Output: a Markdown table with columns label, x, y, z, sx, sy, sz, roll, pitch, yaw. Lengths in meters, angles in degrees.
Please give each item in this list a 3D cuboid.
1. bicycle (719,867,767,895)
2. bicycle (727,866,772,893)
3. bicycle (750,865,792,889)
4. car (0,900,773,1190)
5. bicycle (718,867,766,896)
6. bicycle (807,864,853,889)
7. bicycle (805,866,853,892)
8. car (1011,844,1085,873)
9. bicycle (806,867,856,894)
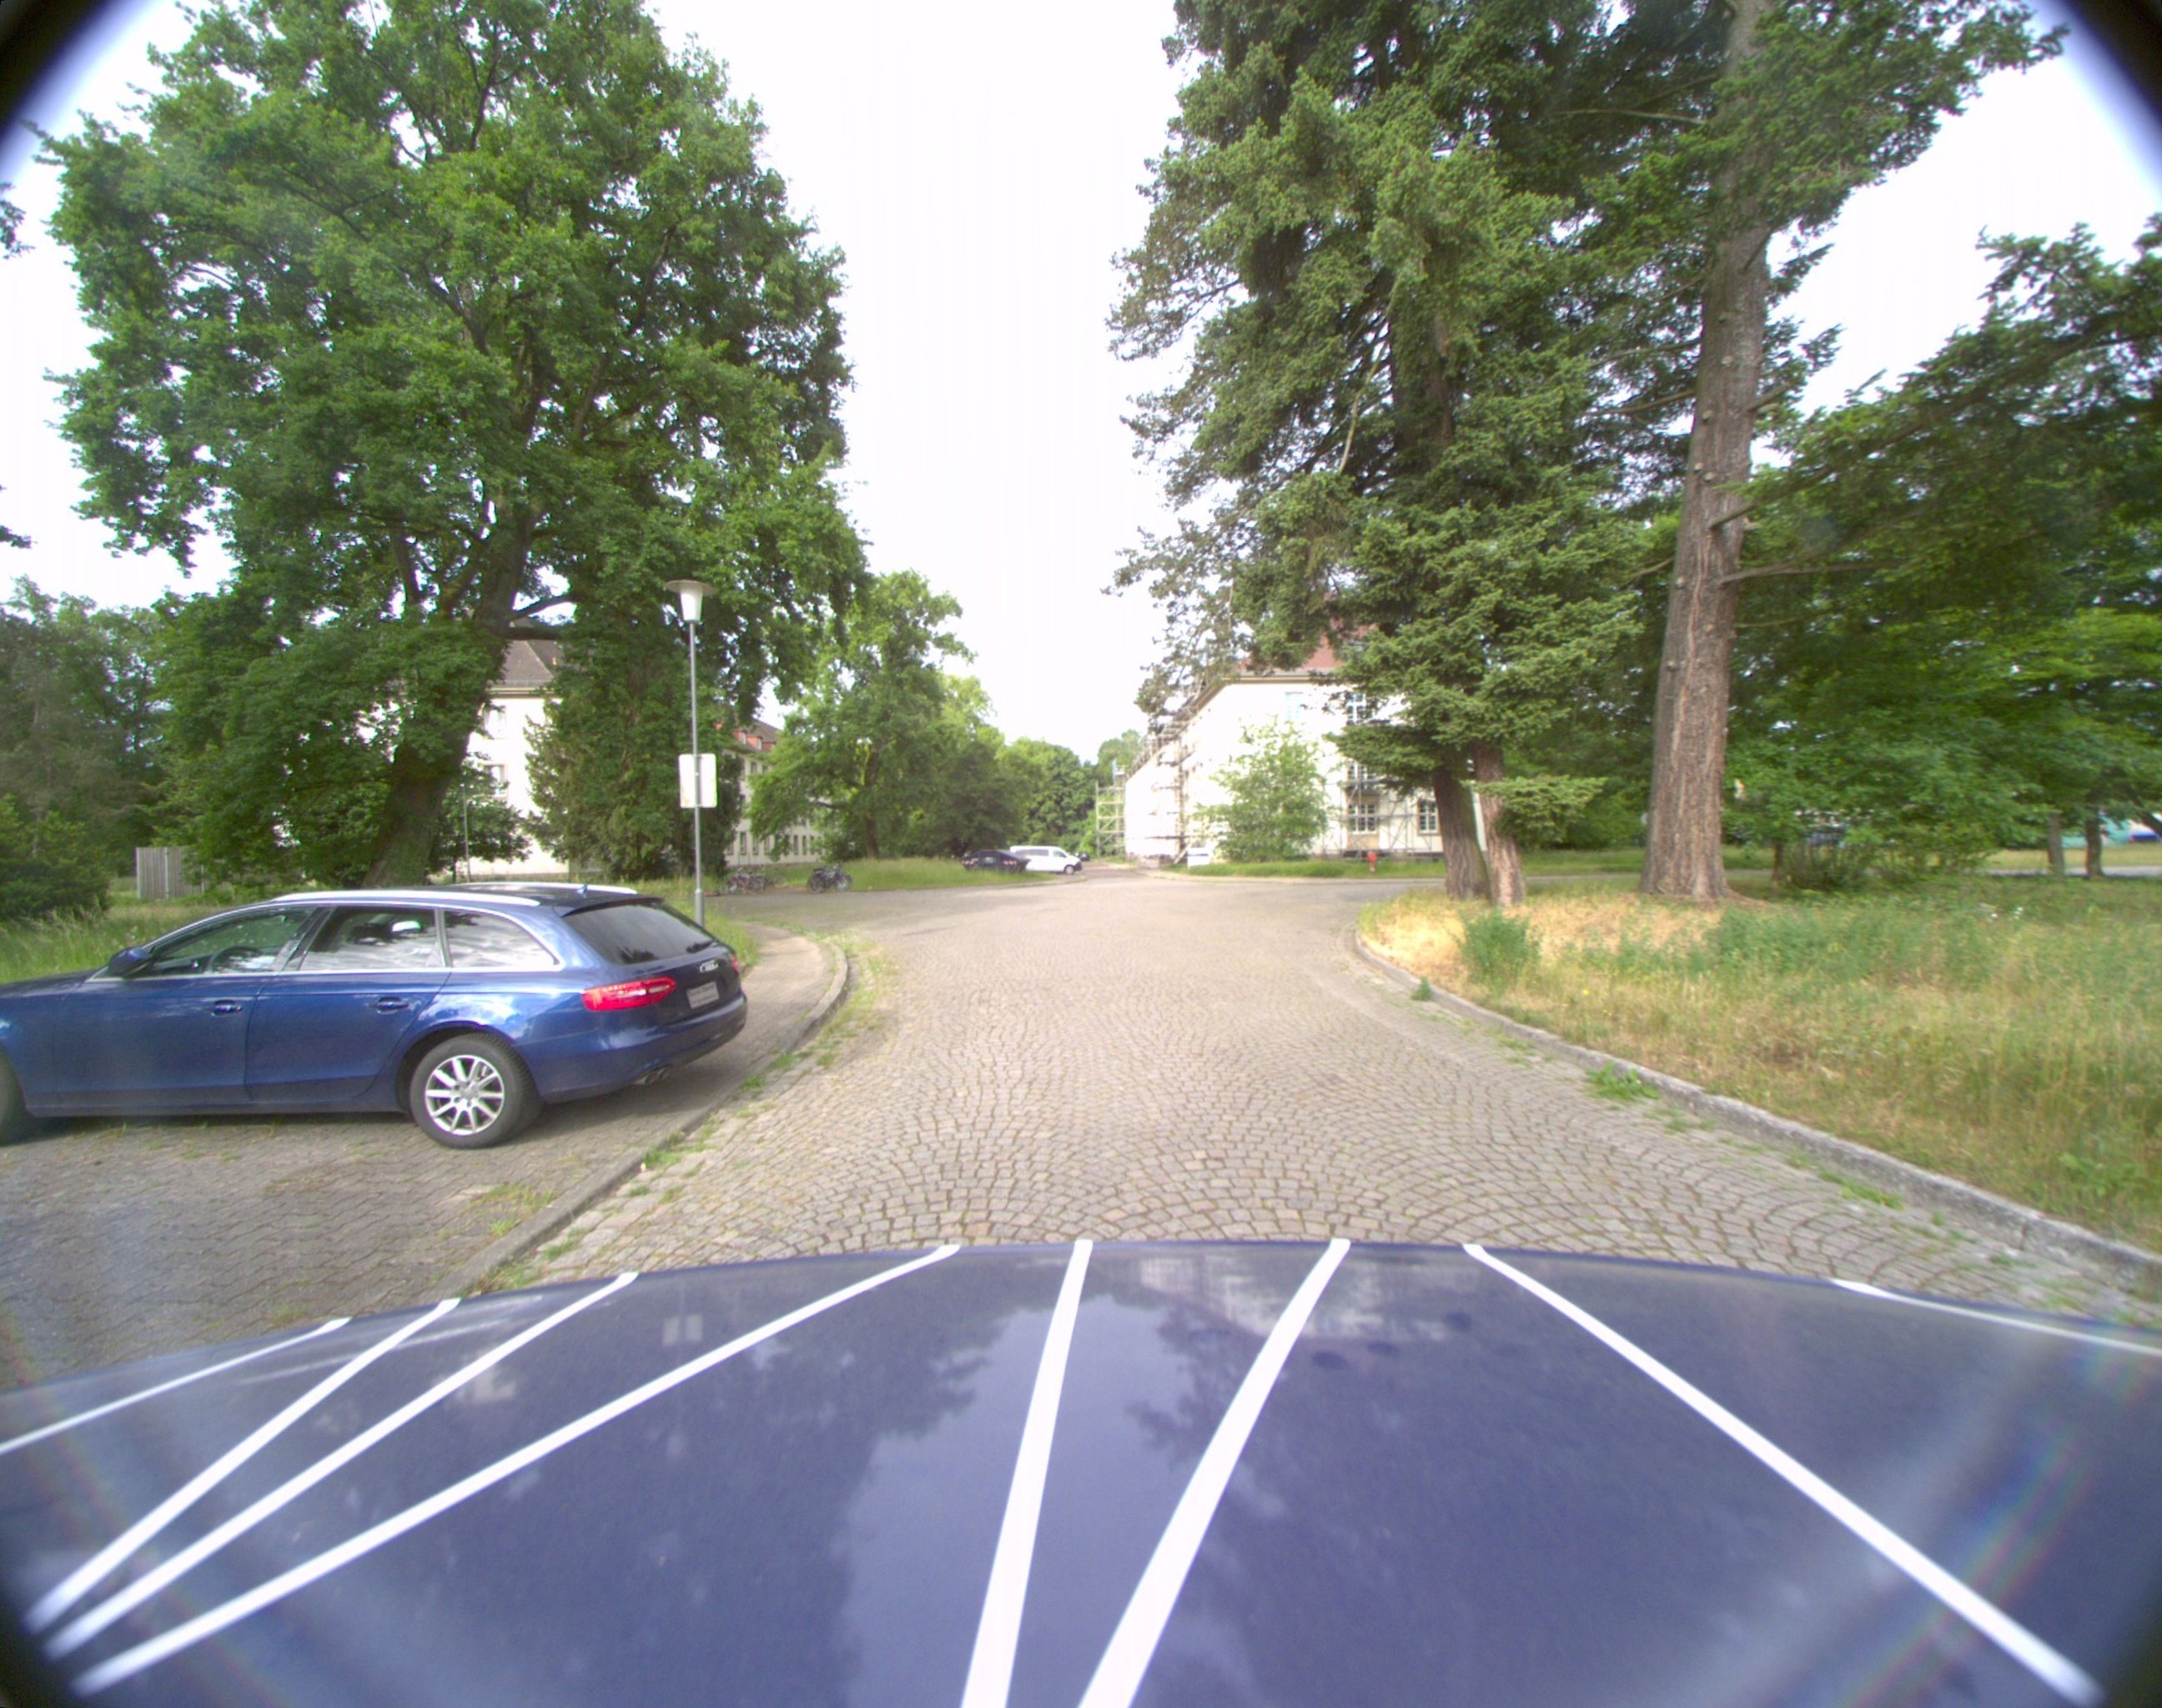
| label | x | y | z | sx | sy | sz | roll | pitch | yaw |
| --- | --- | --- | --- | --- | --- | --- | --- | --- | --- |
| bicycle | -15.079 | 1.193 | 33.905 | 1.860 | 1.116 | 0.620 | -3 | 1 | -25 |
| bicycle | -15.505 | 1.187 | 35.548 | 1.860 | 1.116 | 0.620 | -3 | 1 | -25 |
| bicycle | -15.392 | 1.142 | 37.773 | 1.860 | 1.116 | 0.620 | -3 | 1 | -25 |
| car | -4.612 | 1.076 | 4.928 | 4.481 | 1.413 | 1.784 | 0 | 1 | 1 |
| bicycle | -14.853 | 1.192 | 33.304 | 1.860 | 1.116 | 0.620 | -3 | 1 | -25 |
| bicycle | -12.180 | 1.072 | 36.877 | 2.032 | 1.070 | 0.620 | -2 | 1 | -25 |
| bicycle | -11.517 | 1.124 | 34.799 | 1.976 | 1.070 | 0.587 | -3 | 1 | -30 |
| car | -2.357 | 0.312 | 53.894 | 5.102 | 2.007 | 2.054 | 0 | 1 | -3 |
| bicycle | -10.936 | 1.157 | 33.242 | 1.976 | 1.070 | 0.587 | -3 | 1 | -30 |
